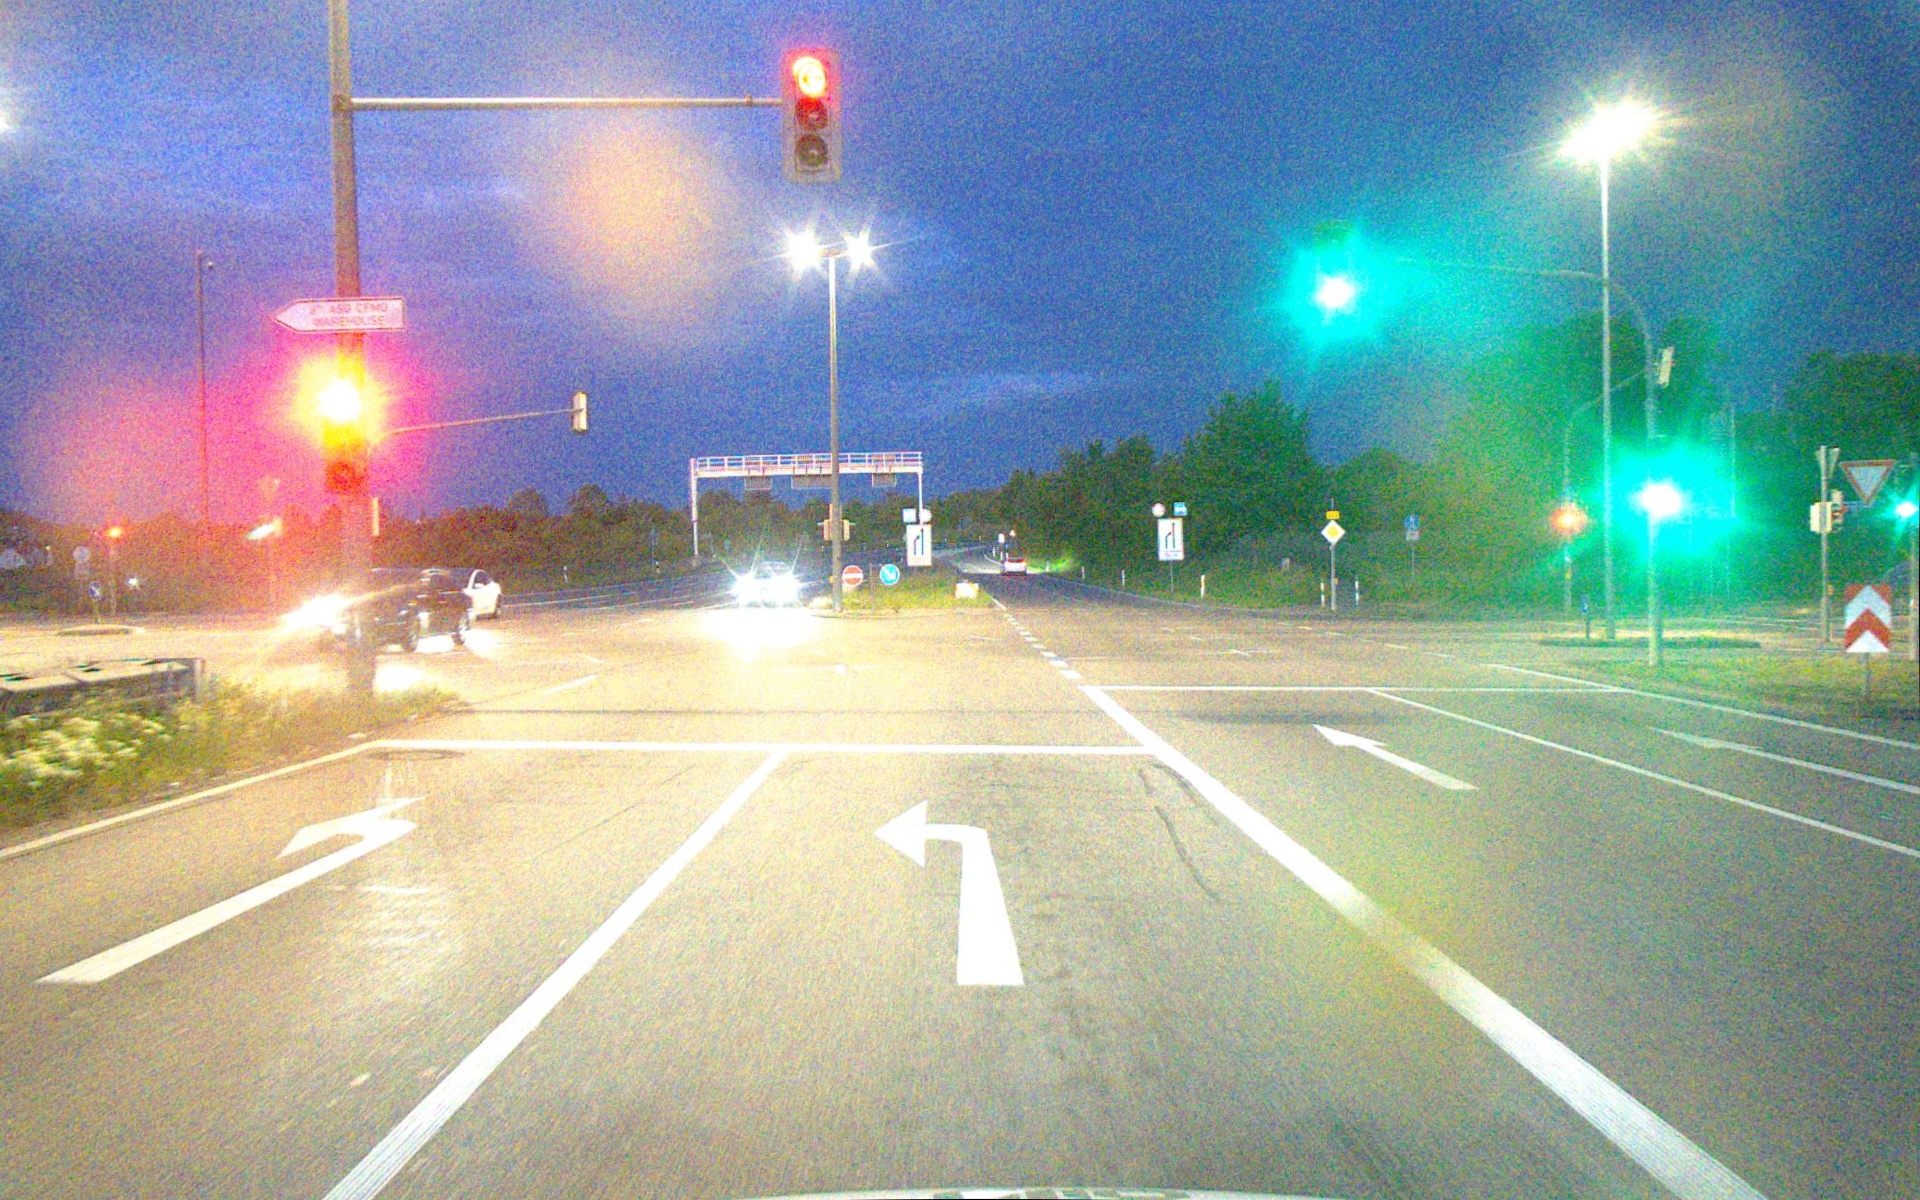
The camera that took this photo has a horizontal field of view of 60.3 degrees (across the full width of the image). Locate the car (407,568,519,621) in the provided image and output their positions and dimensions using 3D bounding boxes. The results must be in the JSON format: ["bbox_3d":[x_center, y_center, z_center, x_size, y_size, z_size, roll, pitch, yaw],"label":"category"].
[{"bbox_3d":[-14.264,-0.188,47.709,1.953,1.450,4.531,0,1,-1],"label":"car"}]

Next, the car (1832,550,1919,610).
[{"bbox_3d":[26.174,-0.571,45.033,3.908,1.596,1.899,-1,1,-4],"label":"car"}]

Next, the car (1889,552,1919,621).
[{"bbox_3d":[23.986,-0.320,38.169,3.993,1.596,2.001,0,1,-4],"label":"car"}]

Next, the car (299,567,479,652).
[{"bbox_3d":[-10.884,0.122,31.907,1.953,1.507,4.681,0,1,-1],"label":"car"}]

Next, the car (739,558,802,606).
[{"bbox_3d":[-6.970,-0.682,61.228,1.953,1.727,3.999,0,1,-1],"label":"car"}]

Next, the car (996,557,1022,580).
[{"bbox_3d":[3.790,-2.411,127.195,1.966,1.639,3.846,-1,0,2],"label":"car"}]
